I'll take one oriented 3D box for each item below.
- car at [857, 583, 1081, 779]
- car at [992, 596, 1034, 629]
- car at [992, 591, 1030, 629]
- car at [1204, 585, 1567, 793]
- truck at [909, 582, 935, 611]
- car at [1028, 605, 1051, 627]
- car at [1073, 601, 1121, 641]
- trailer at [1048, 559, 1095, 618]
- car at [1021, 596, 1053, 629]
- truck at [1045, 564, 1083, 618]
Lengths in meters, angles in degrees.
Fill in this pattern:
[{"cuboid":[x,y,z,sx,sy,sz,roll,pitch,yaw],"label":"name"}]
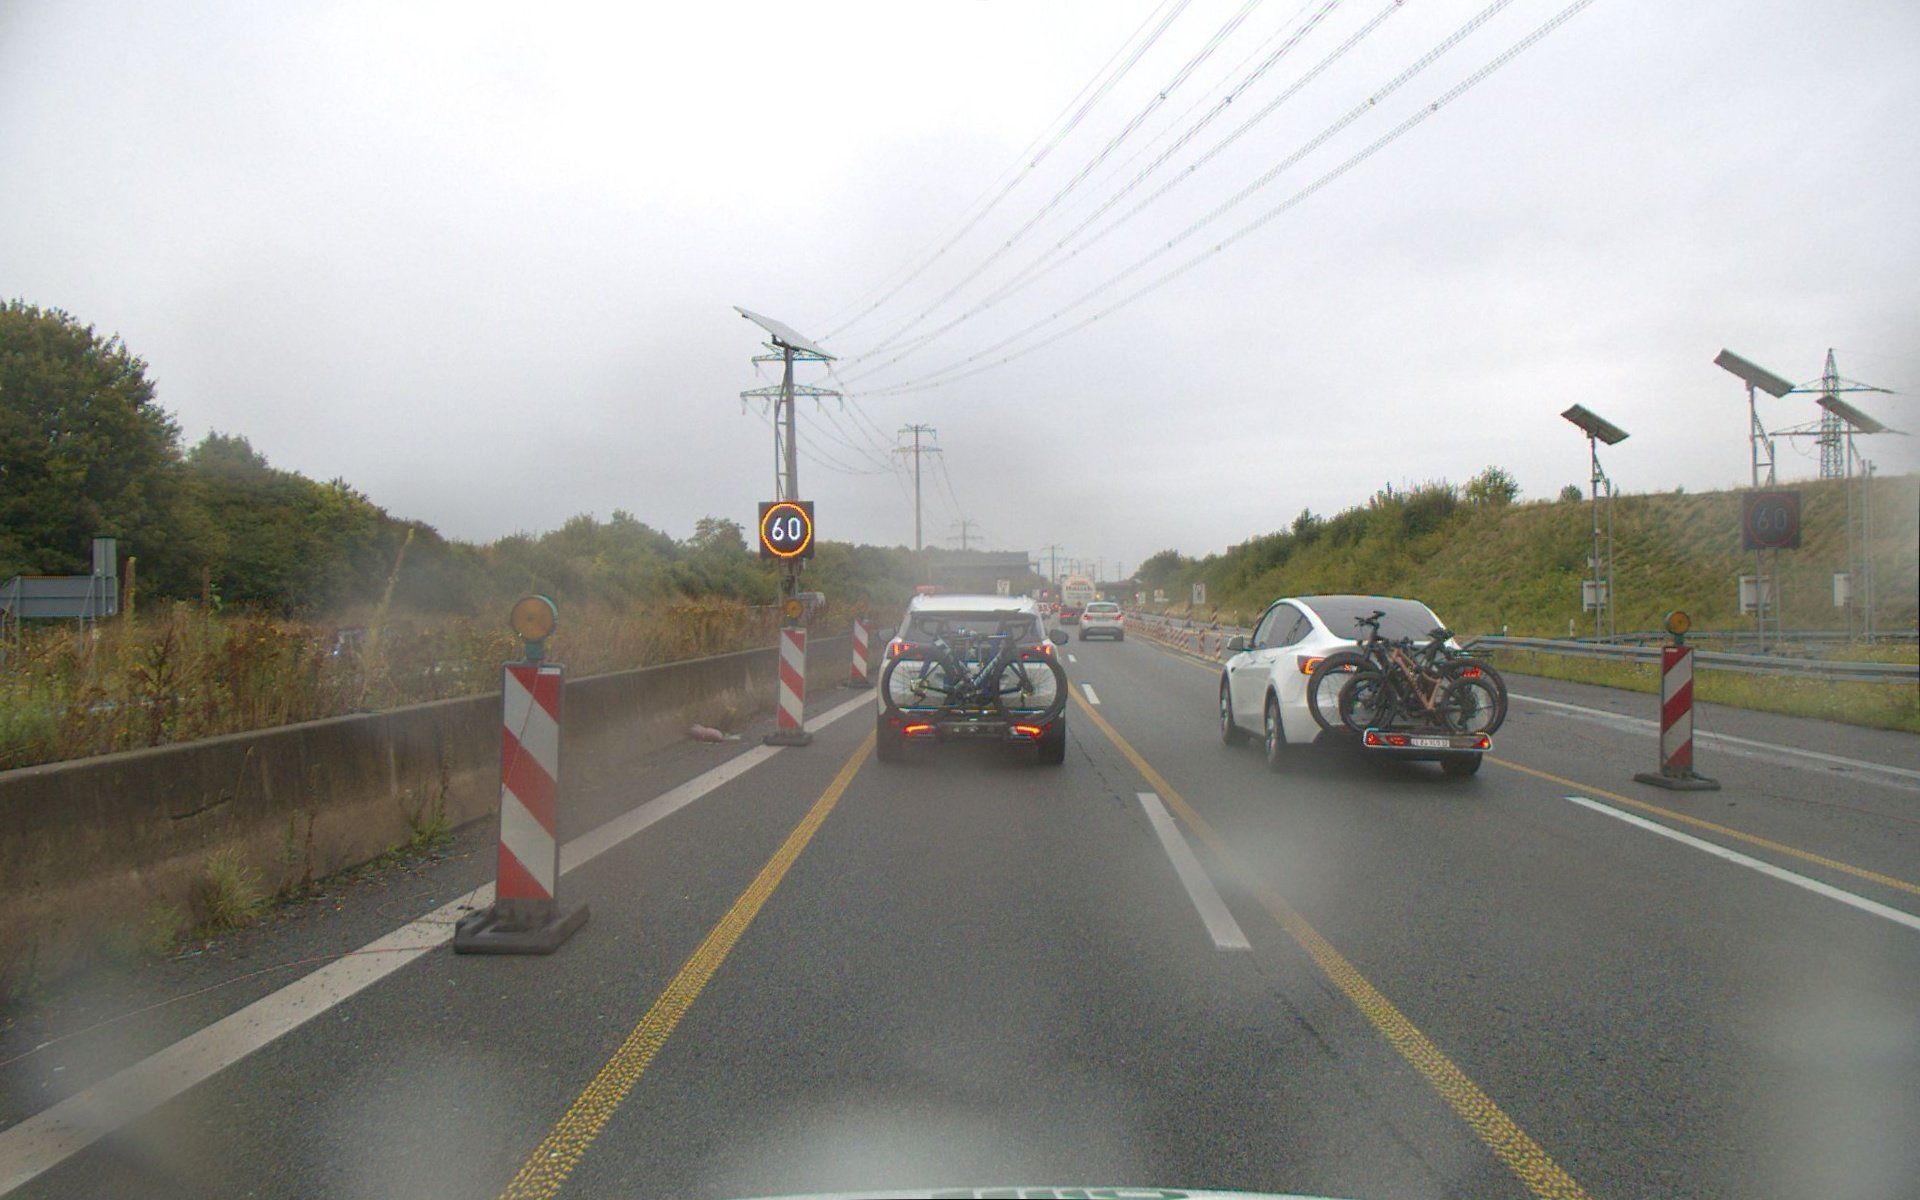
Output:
[{"cuboid":[0.163,0.685,16.312,1.888,1.639,4.596,0,0,2],"label":"car"},{"cuboid":[2.630,0.624,82.995,1.953,1.611,4.000,0,0,0],"label":"car"},{"cuboid":[2.853,0.554,93.194,1.953,2.049,4.000,-1,0,0],"label":"car"},{"cuboid":[3.824,0.721,16.087,2.004,1.624,5.801,1,0,0],"label":"car"},{"cuboid":[-4.863,-0.473,213.167,2.961,3.593,4.927,1,-1,2],"label":"truck"},{"cuboid":[7.449,1.507,155.793,1.953,2.049,3.999,1,-1,0],"label":"car"},{"cuboid":[5.552,0.842,67.461,1.831,1.561,4.198,0,0,3],"label":"car"},{"cuboid":[7.904,-0.744,118.807,2.584,3.961,10.541,1,-1,0],"label":"trailer"},{"cuboid":[5.242,0.833,112.884,1.953,2.048,4.000,1,2,0],"label":"car"},{"cuboid":[7.873,-0.644,125.453,2.591,3.959,4.029,1,-1,0],"label":"truck"}]
